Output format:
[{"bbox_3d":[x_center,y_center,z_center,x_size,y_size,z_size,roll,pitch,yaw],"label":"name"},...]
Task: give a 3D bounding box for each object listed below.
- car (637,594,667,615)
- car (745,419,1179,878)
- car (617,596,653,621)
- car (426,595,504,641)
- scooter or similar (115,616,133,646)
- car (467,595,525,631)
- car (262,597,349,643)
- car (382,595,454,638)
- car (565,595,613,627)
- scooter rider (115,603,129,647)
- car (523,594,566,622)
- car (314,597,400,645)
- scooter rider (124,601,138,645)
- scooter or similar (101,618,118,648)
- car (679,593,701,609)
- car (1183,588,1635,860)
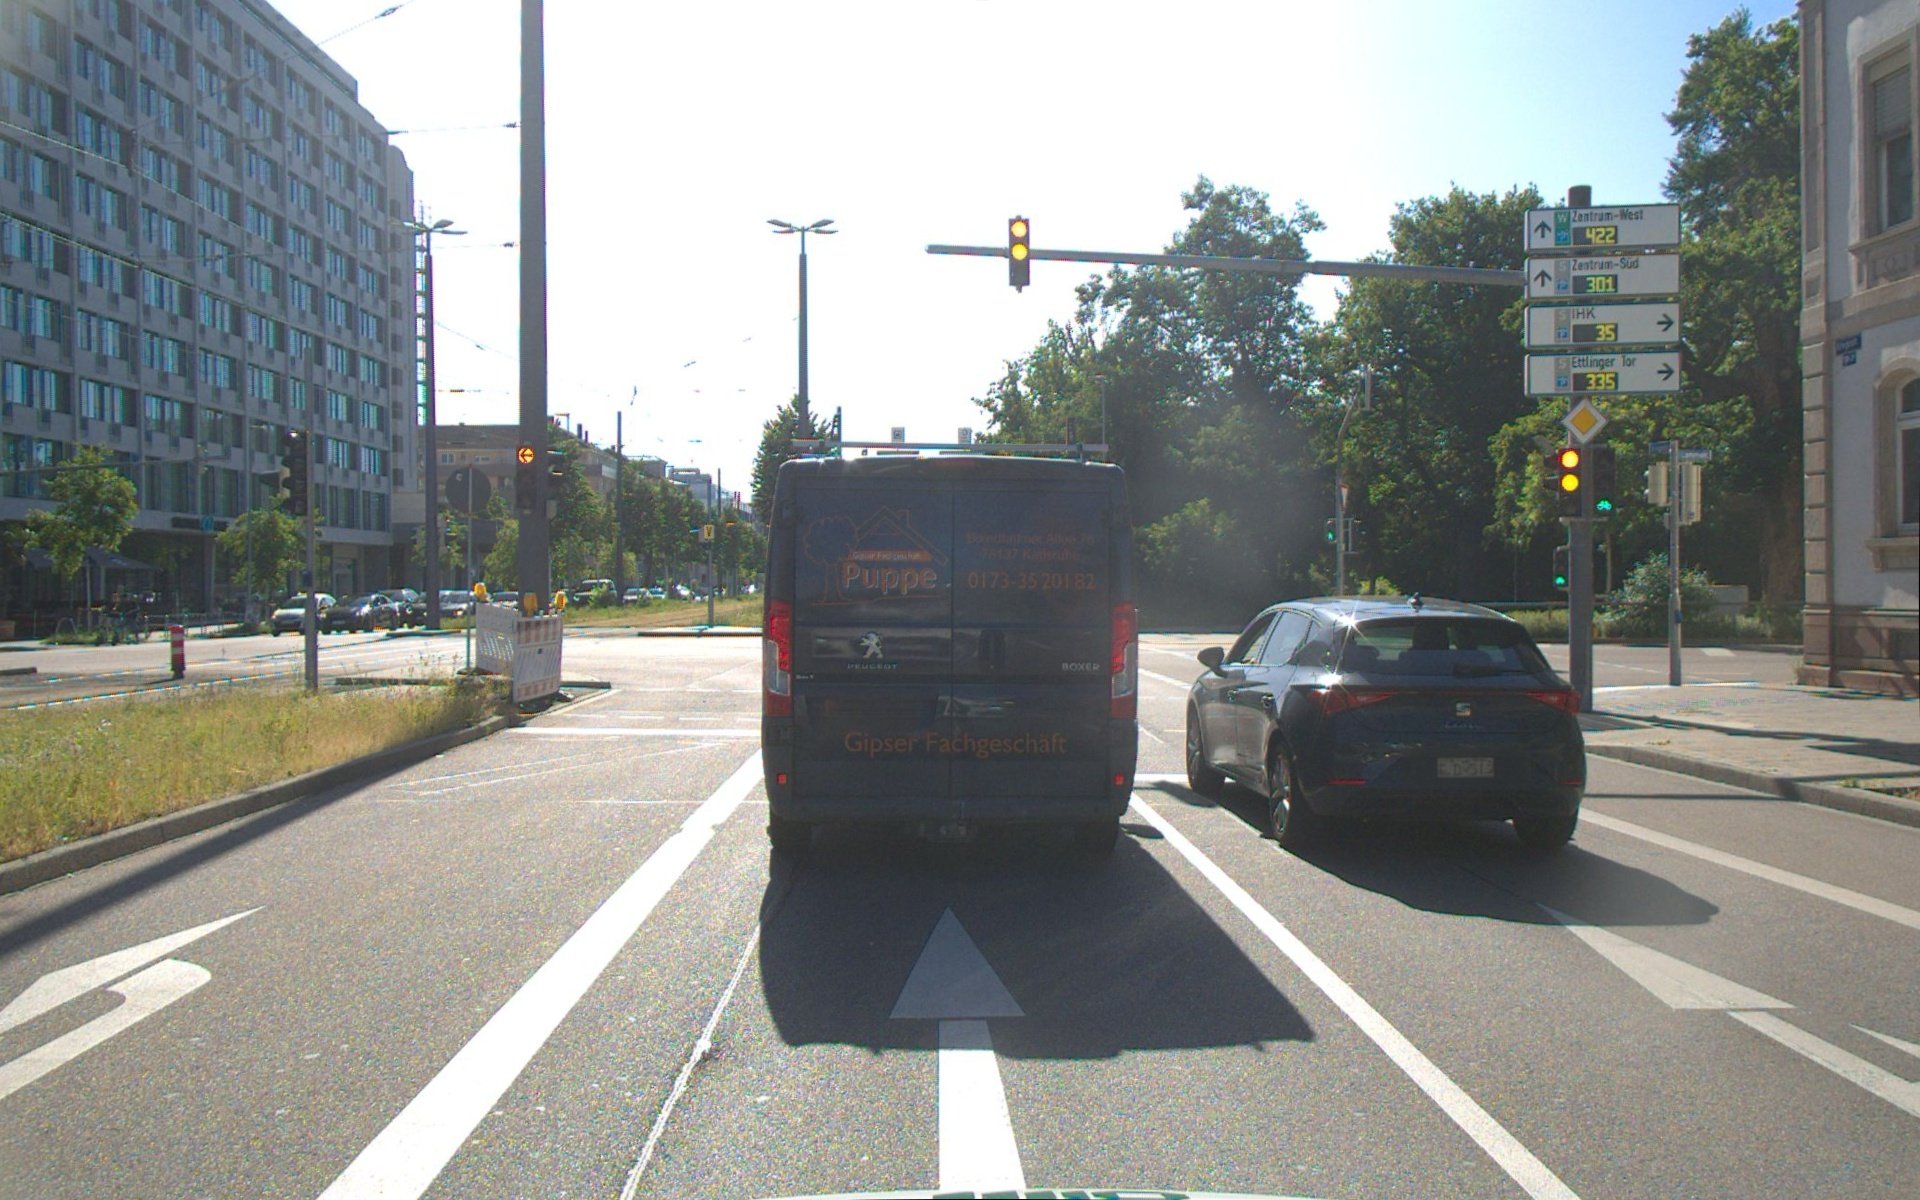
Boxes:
[{"bbox_3d":[-25.109,0.336,134.846,1.754,1.680,4.000,-1,0,-1],"label":"car"},{"bbox_3d":[-0.071,0.215,10.636,2.173,2.307,4.482,1,1,-2],"label":"car"},{"bbox_3d":[-23.017,0.594,117.328,1.754,1.680,4.000,-1,0,-1],"label":"car"},{"bbox_3d":[-19.114,0.658,64.064,1.754,1.680,4.334,-1,0,-1],"label":"car"},{"bbox_3d":[-28.037,1.029,55.486,0.224,0.964,0.767,-1,0,-1],"label":"scooter or similar"},{"bbox_3d":[-22.613,0.596,80.743,1.754,1.680,4.000,-1,0,-1],"label":"car"},{"bbox_3d":[-25.213,0.733,63.860,1.754,1.680,4.000,-1,0,-1],"label":"car"},{"bbox_3d":[-22.803,0.668,69.731,1.754,1.680,4.000,-1,0,-1],"label":"car"},{"bbox_3d":[-20.313,0.598,90.712,1.754,1.680,4.000,-1,0,-1],"label":"car"},{"bbox_3d":[-28.421,0.847,56.086,0.335,1.478,0.239,-1,0,-1],"label":"scooter rider"},{"bbox_3d":[-26.320,0.486,104.920,1.754,1.680,4.000,-1,0,-1],"label":"car"},{"bbox_3d":[-22.394,0.742,61.575,1.754,1.680,4.000,-1,0,-1],"label":"car"},{"bbox_3d":[-27.845,0.764,55.579,0.335,1.478,0.239,-1,0,-1],"label":"scooter rider"},{"bbox_3d":[-28.808,1.116,56.017,0.280,0.964,0.766,-1,0,-8],"label":"scooter or similar"},{"bbox_3d":[-28.498,0.105,174.680,1.754,1.680,4.000,-1,1,-1],"label":"car"},{"bbox_3d":[2.689,0.665,10.838,1.756,1.453,3.848,1,0,-3],"label":"car"}]
